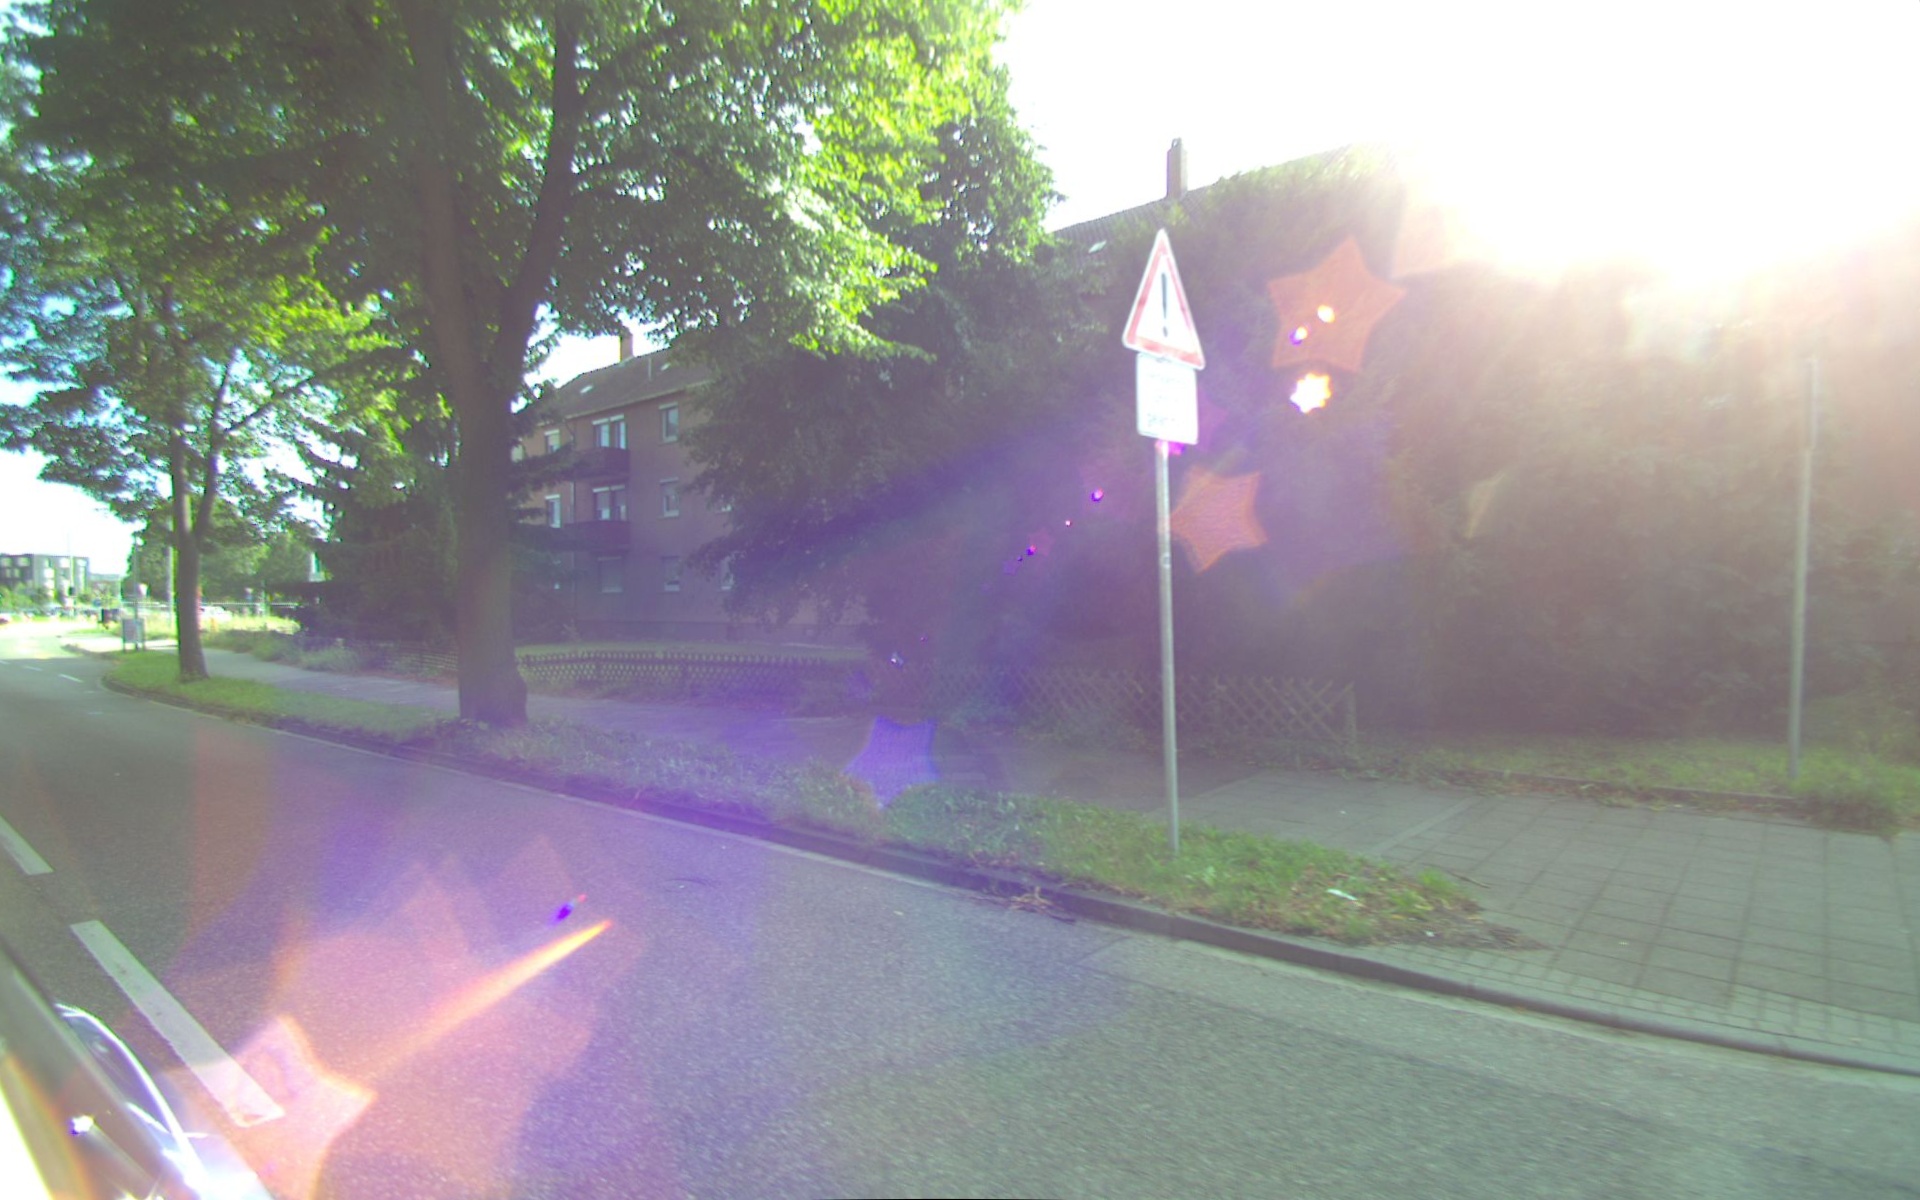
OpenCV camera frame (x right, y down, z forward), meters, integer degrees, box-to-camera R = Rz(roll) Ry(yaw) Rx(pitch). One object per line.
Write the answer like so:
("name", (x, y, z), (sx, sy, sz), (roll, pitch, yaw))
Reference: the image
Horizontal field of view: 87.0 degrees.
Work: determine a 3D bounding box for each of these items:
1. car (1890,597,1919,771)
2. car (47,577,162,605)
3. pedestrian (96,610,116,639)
("car", (10.120, 0.676, 7.660), (4.508, 1.439, 1.972), (-1, -1, 43))
("car", (-61.924, -0.666, 73.360), (6.160, 1.880, 2.479), (-1, 1, -3))
("pedestrian", (-56.121, 1.598, 66.479), (0.739, 1.837, 0.705), (-1, 1, 20))
